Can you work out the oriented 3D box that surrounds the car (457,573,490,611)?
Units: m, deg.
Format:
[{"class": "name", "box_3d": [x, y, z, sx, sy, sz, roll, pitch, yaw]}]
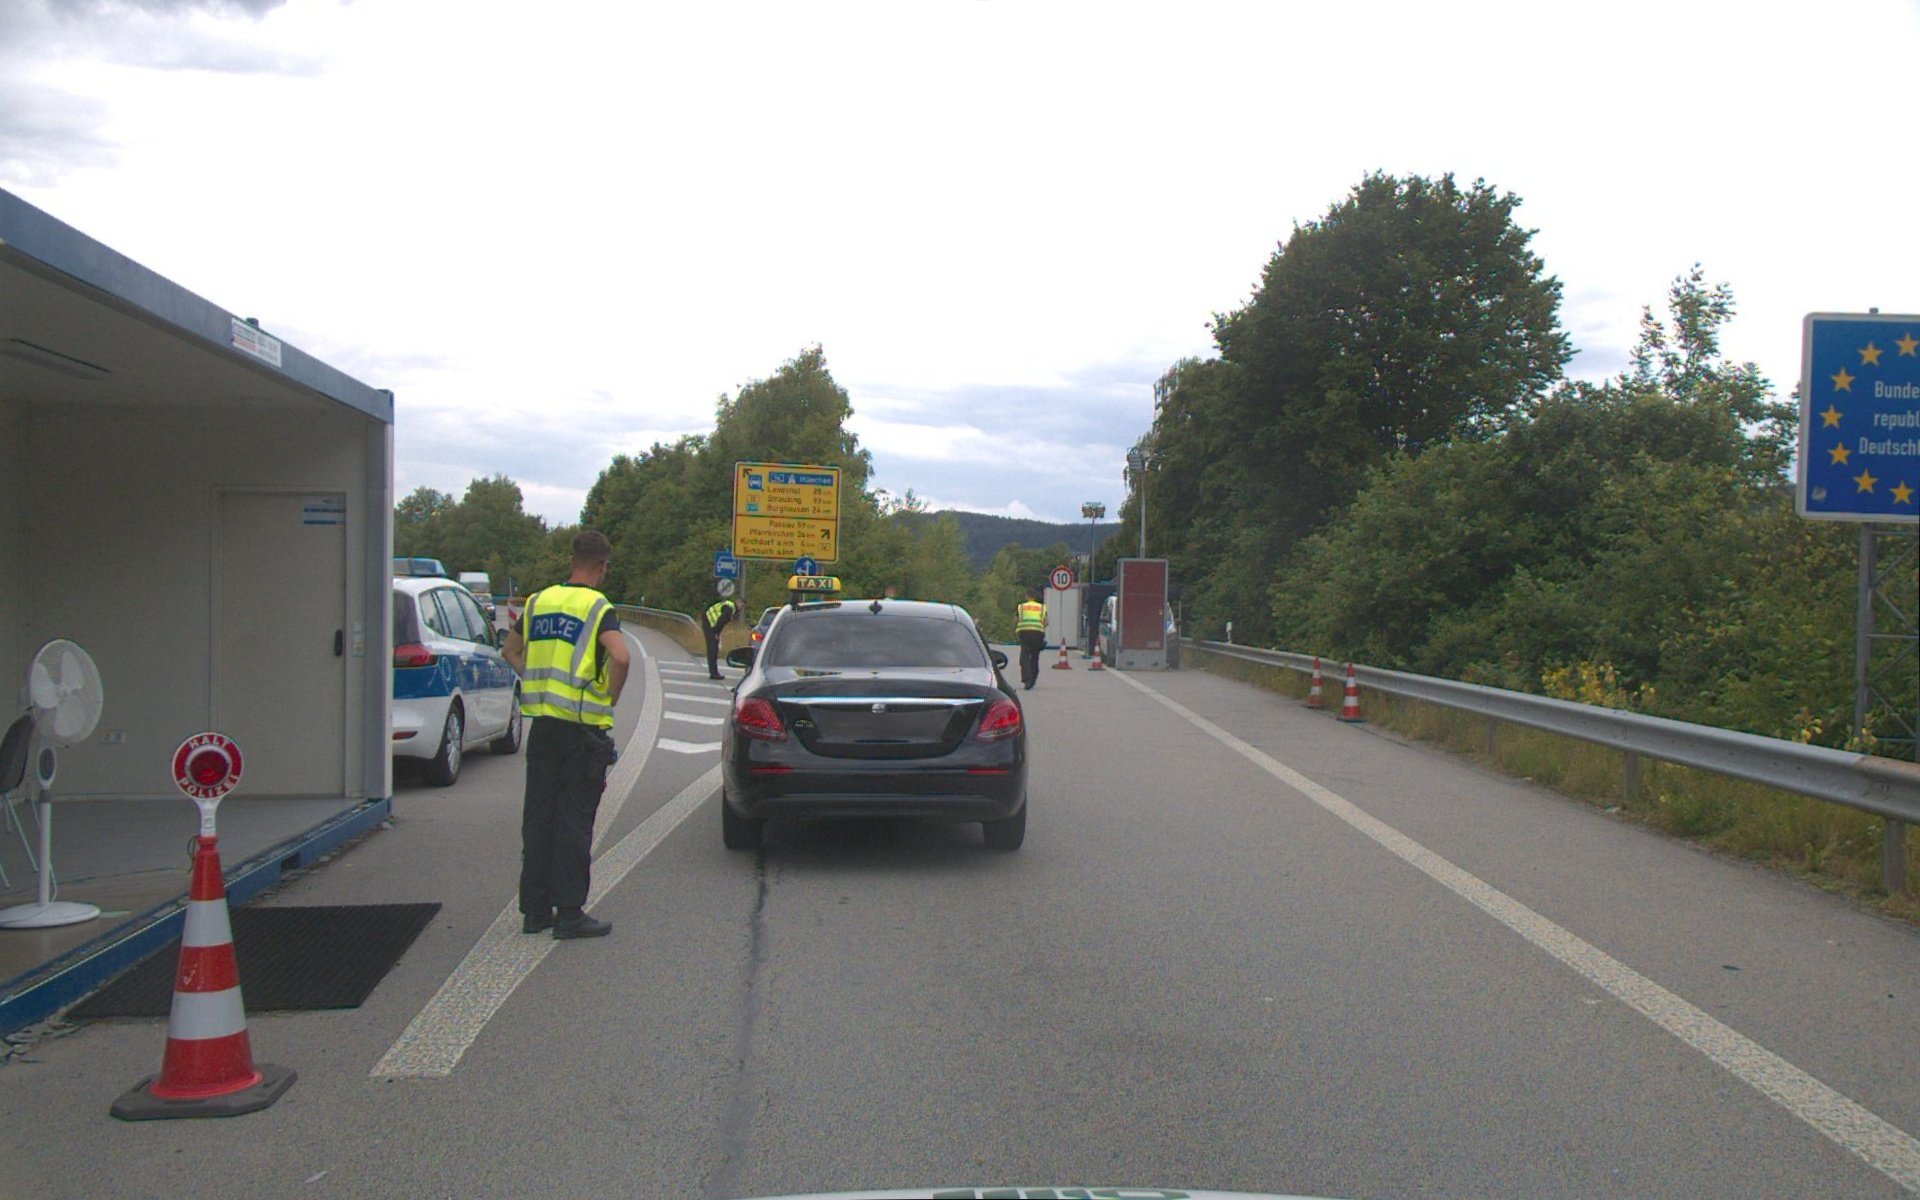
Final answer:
[{"class": "car", "box_3d": [-29.096, -0.469, 98.996, 1.825, 2.261, 4.237, 0, 0, -16]}]

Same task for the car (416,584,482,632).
[{"class": "car", "box_3d": [-16.991, 0.261, 55.179, 1.824, 1.524, 4.241, 0, 0, -14]}]

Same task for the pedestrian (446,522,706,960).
[{"class": "pedestrian", "box_3d": [-1.656, 0.564, 7.167, 0.747, 1.748, 0.815, 0, 0, 36]}]

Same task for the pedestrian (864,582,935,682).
[{"class": "pedestrian", "box_3d": [-1.065, 0.550, 29.005, 0.900, 1.727, 0.903, 1, 0, -32]}]

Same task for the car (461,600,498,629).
[{"class": "car", "box_3d": [-25.557, 0.737, 87.996, 1.821, 1.488, 3.983, 1, 0, -16]}]

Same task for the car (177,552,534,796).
[{"class": "car", "box_3d": [-4.934, 0.540, 14.117, 1.832, 1.774, 4.004, 0, 0, -5]}]

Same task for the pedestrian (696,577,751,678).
[{"class": "pedestrian", "box_3d": [-4.281, 0.492, 29.983, 0.892, 1.800, 0.911, 1, 0, -4]}]

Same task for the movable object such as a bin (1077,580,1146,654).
[{"class": "movable object such as a bin", "box_3d": [4.892, 0.533, 53.836, 1.952, 2.320, 4.169, 1, 0, 2]}]

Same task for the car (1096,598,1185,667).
[{"class": "car", "box_3d": [4.841, 0.837, 44.991, 1.877, 1.707, 5.083, 2, 0, 1]}]

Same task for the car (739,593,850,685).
[{"class": "car", "box_3d": [-2.917, 0.650, 29.881, 1.818, 1.524, 4.254, 0, 0, -3]}]

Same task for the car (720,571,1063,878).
[{"class": "car", "box_3d": [-0.551, 0.661, 11.005, 1.819, 1.623, 4.370, 0, 0, -5]}]

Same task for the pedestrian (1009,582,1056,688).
[{"class": "pedestrian", "box_3d": [1.284, 0.610, 29.473, 0.796, 1.862, 0.809, 0, 0, -1]}]
